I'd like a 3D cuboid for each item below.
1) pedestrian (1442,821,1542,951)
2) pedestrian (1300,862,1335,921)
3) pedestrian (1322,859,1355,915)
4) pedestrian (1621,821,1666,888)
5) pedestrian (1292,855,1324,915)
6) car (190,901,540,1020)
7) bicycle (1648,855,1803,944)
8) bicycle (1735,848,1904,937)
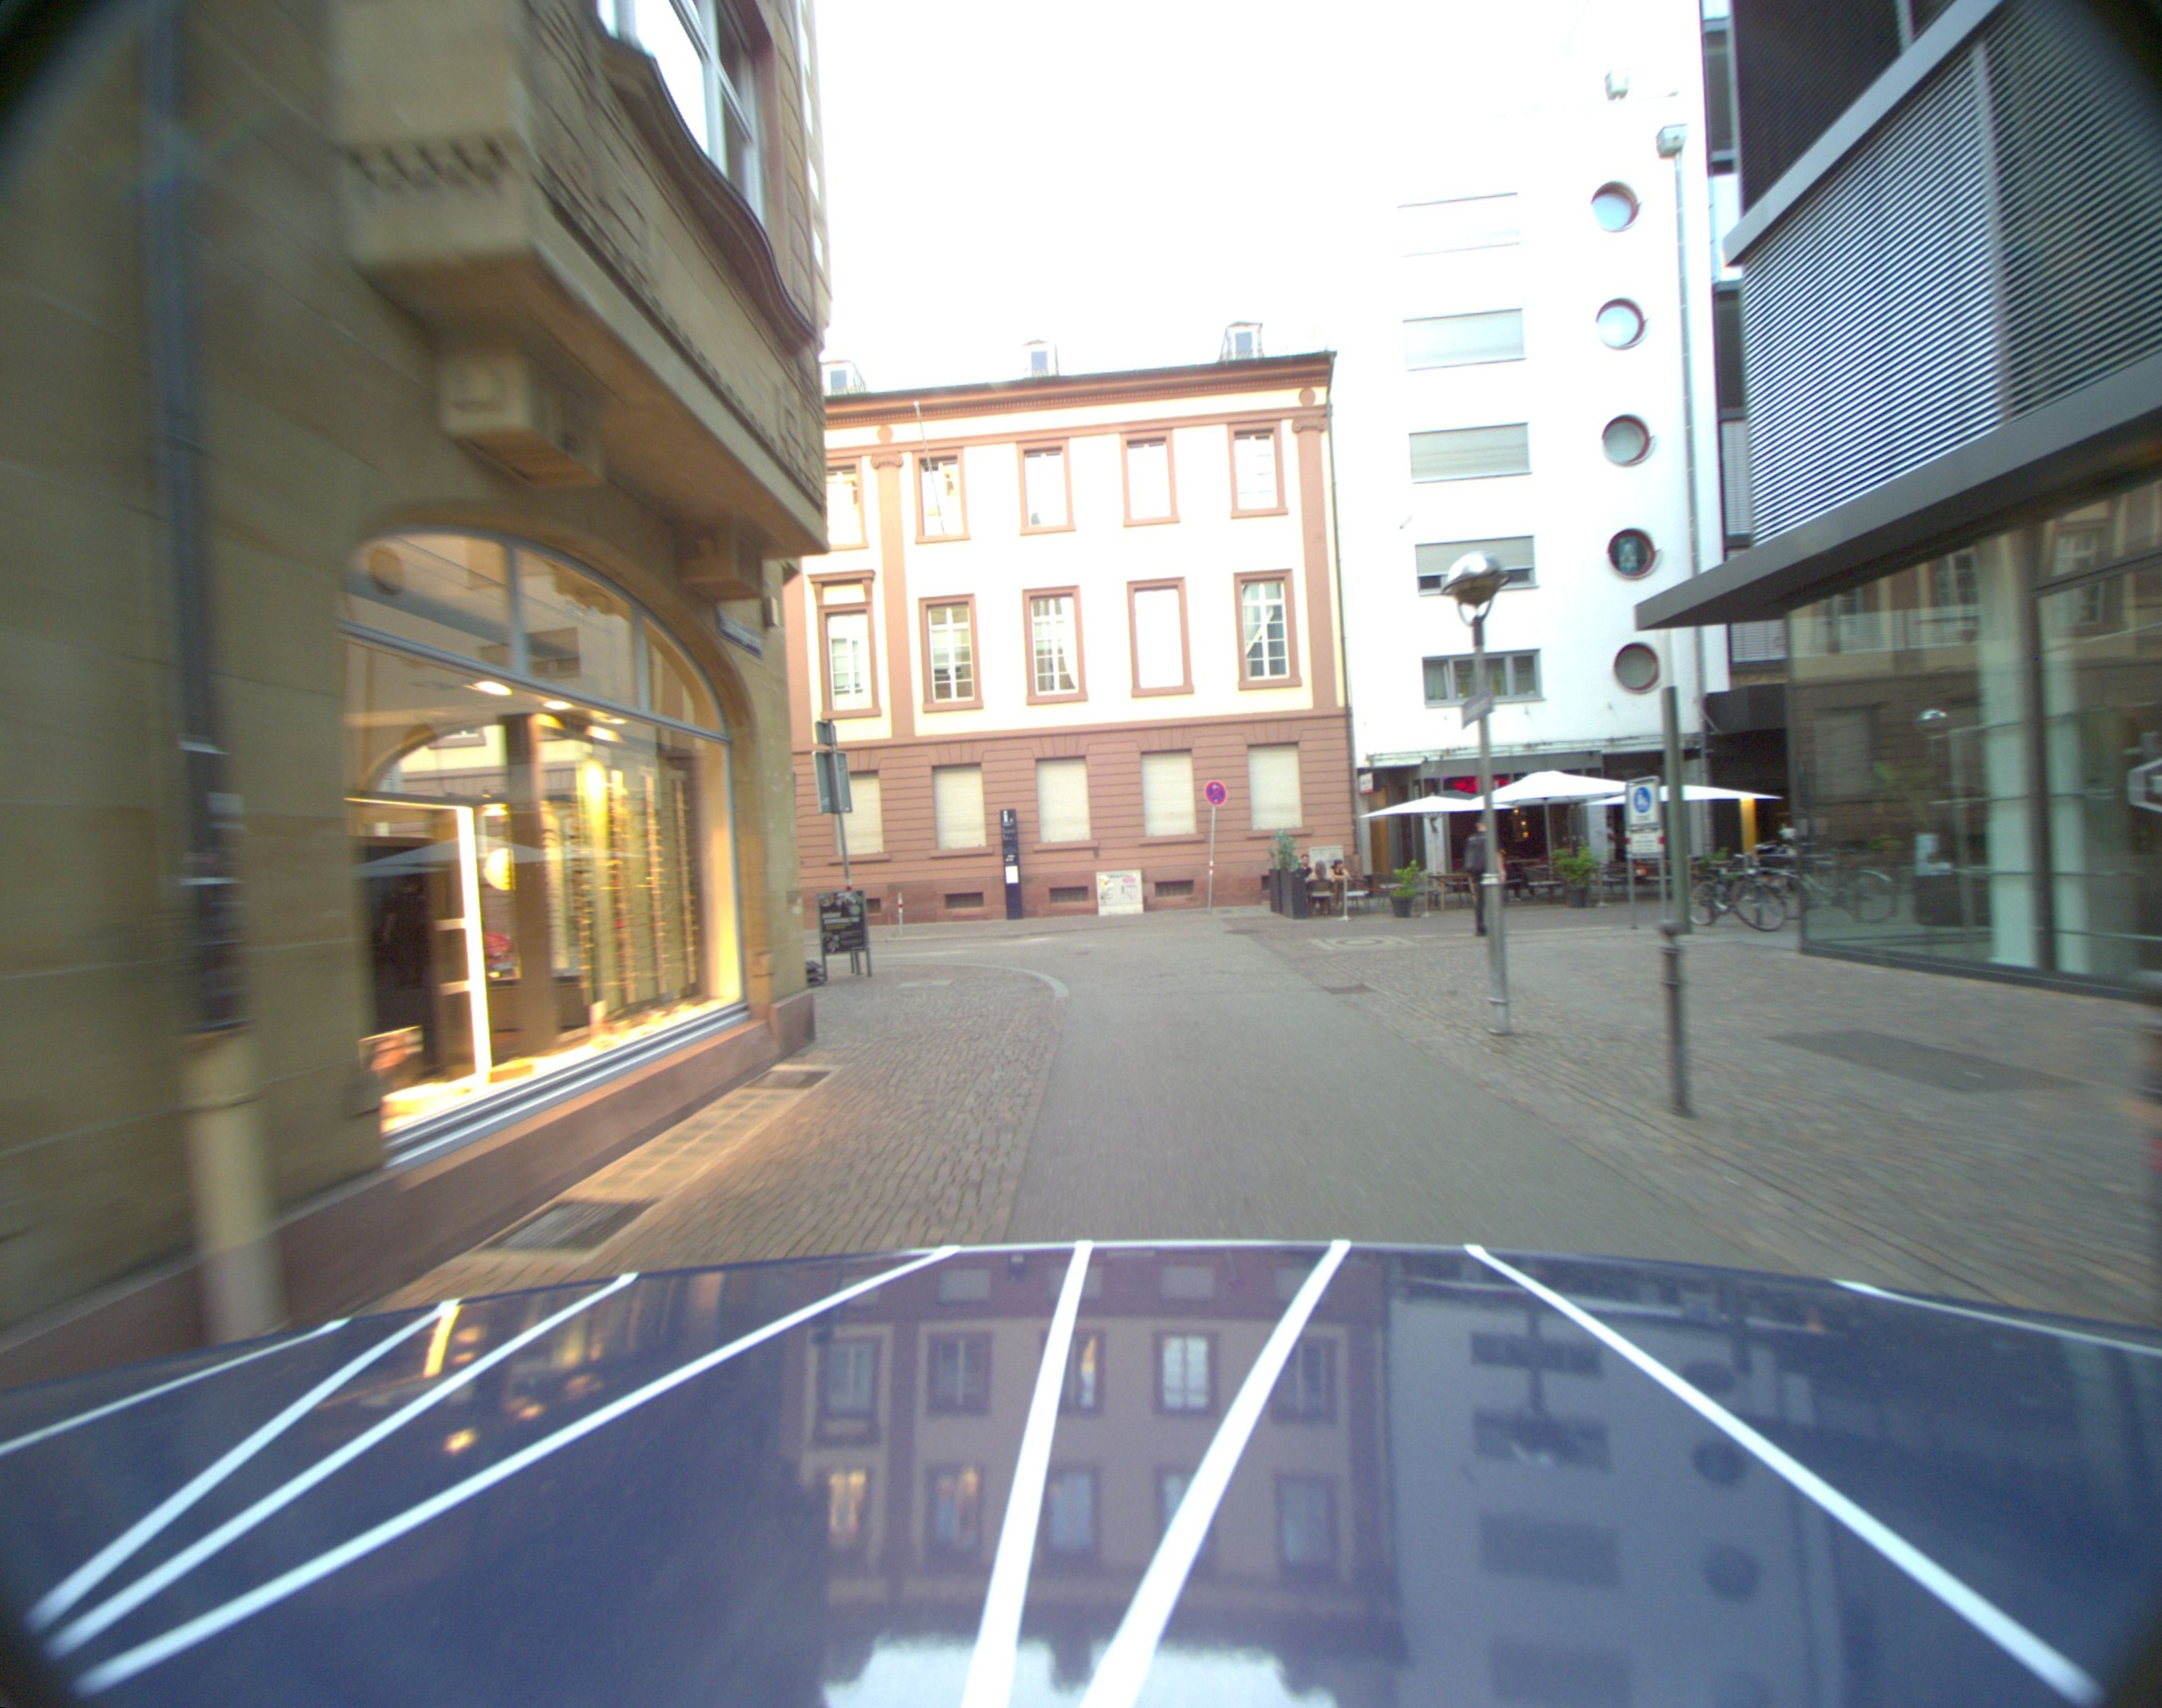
[{"bbox_3d":[5.987,0.444,11.099,0.969,1.775,0.739,-3,1,-15],"label":"pedestrian"},{"bbox_3d":[4.993,0.780,16.056,0.561,1.204,0.461,-3,1,5],"label":"pedestrian"},{"bbox_3d":[5.840,0.738,17.245,0.548,1.204,0.524,-3,1,5],"label":"pedestrian"},{"bbox_3d":[14.235,0.011,19.232,0.671,1.656,0.623,-4,1,-25],"label":"pedestrian"},{"bbox_3d":[5.233,0.717,17.552,0.548,1.341,0.489,-3,1,5],"label":"pedestrian"},{"bbox_3d":[-11.020,1.610,11.862,3.996,1.434,1.651,-3,0,4],"label":"car"},{"bbox_3d":[8.914,0.597,10.609,0.709,1.106,1.674,-3,-1,2],"label":"bicycle"},{"bbox_3d":[10.545,0.523,10.956,0.609,1.143,1.842,-3,-1,2],"label":"bicycle"}]
